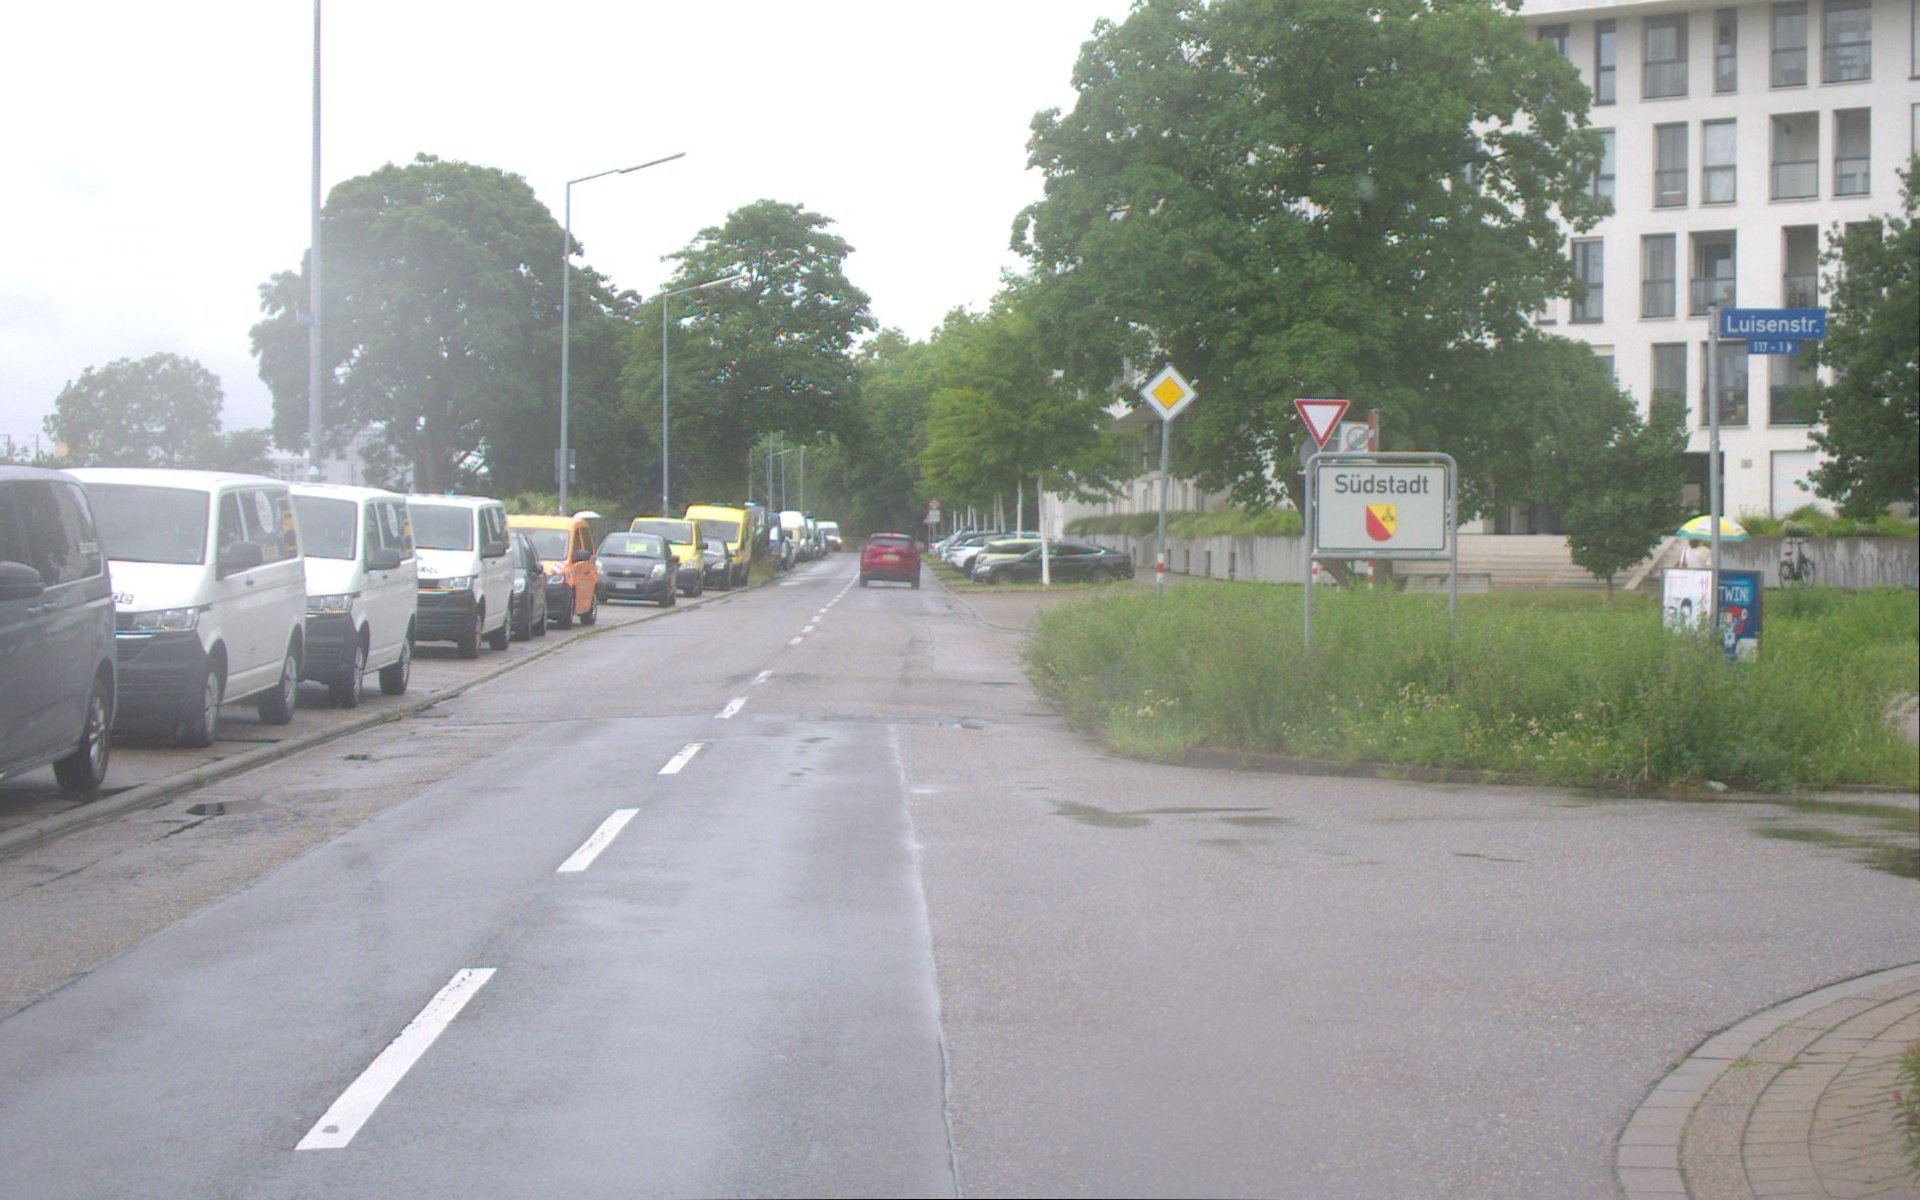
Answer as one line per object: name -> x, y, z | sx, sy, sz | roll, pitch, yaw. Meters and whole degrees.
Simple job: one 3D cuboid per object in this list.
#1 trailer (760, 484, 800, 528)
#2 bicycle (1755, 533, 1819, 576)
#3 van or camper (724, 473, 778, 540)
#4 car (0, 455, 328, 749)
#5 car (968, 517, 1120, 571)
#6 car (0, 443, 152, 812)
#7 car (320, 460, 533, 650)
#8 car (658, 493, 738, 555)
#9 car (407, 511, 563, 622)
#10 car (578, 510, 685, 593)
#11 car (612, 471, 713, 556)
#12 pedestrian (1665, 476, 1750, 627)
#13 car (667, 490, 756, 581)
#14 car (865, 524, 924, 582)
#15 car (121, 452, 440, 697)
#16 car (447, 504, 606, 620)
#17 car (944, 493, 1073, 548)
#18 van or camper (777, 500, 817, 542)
trailer -> -9.581, -5.019, 183.312 | 2.058, 2.210, 5.796 | 2, 2, -3
bicycle -> 20.277, -1.114, 84.278 | 0.724, 1.029, 2.068 | 2, 2, 38
van or camper -> -9.035, -4.027, 149.262 | 2.094, 2.706, 7.575 | 3, 1, -3
car -> -6.233, -0.070, 26.214 | 1.895, 2.006, 5.258 | 1, 2, -1
car -> 2.528, -1.711, 104.255 | 4.487, 1.476, 1.692 | -2, 1, -1
car -> -5.919, 0.097, 18.626 | 1.956, 1.895, 4.995 | 1, 2, -1
car -> -6.667, -0.620, 43.520 | 1.942, 2.228, 5.558 | 1, 2, -1
car -> -7.360, -2.141, 97.027 | 1.993, 1.588, 5.018 | 3, 1, -2
car -> -6.837, -0.526, 49.839 | 1.683, 1.496, 4.893 | 1, 2, -1
car -> -6.846, -1.034, 71.960 | 1.804, 1.556, 4.033 | 3, 2, -1
car -> -7.277, -2.126, 84.723 | 2.017, 1.949, 6.066 | 3, 1, -1
pedestrian -> 10.030, -0.663, 46.157 | 0.965, 2.006, 0.623 | 0, 2, -1
car -> -7.818, -2.057, 108.805 | 2.192, 2.685, 6.082 | 3, 1, 0
car -> -2.027, -1.466, 105.775 | 1.756, 1.700, 4.001 | 1, 1, -2
car -> -6.250, -0.299, 32.236 | 1.959, 2.051, 5.275 | 2, 2, -1
car -> -6.897, -0.649, 55.110 | 1.940, 1.761, 4.331 | 1, 2, 1
car -> 1.766, -2.953, 127.153 | 4.539, 1.679, 1.886 | -4, 2, -3
van or camper -> -9.942, -4.837, 209.926 | 2.189, 2.453, 6.378 | 2, 1, -1
